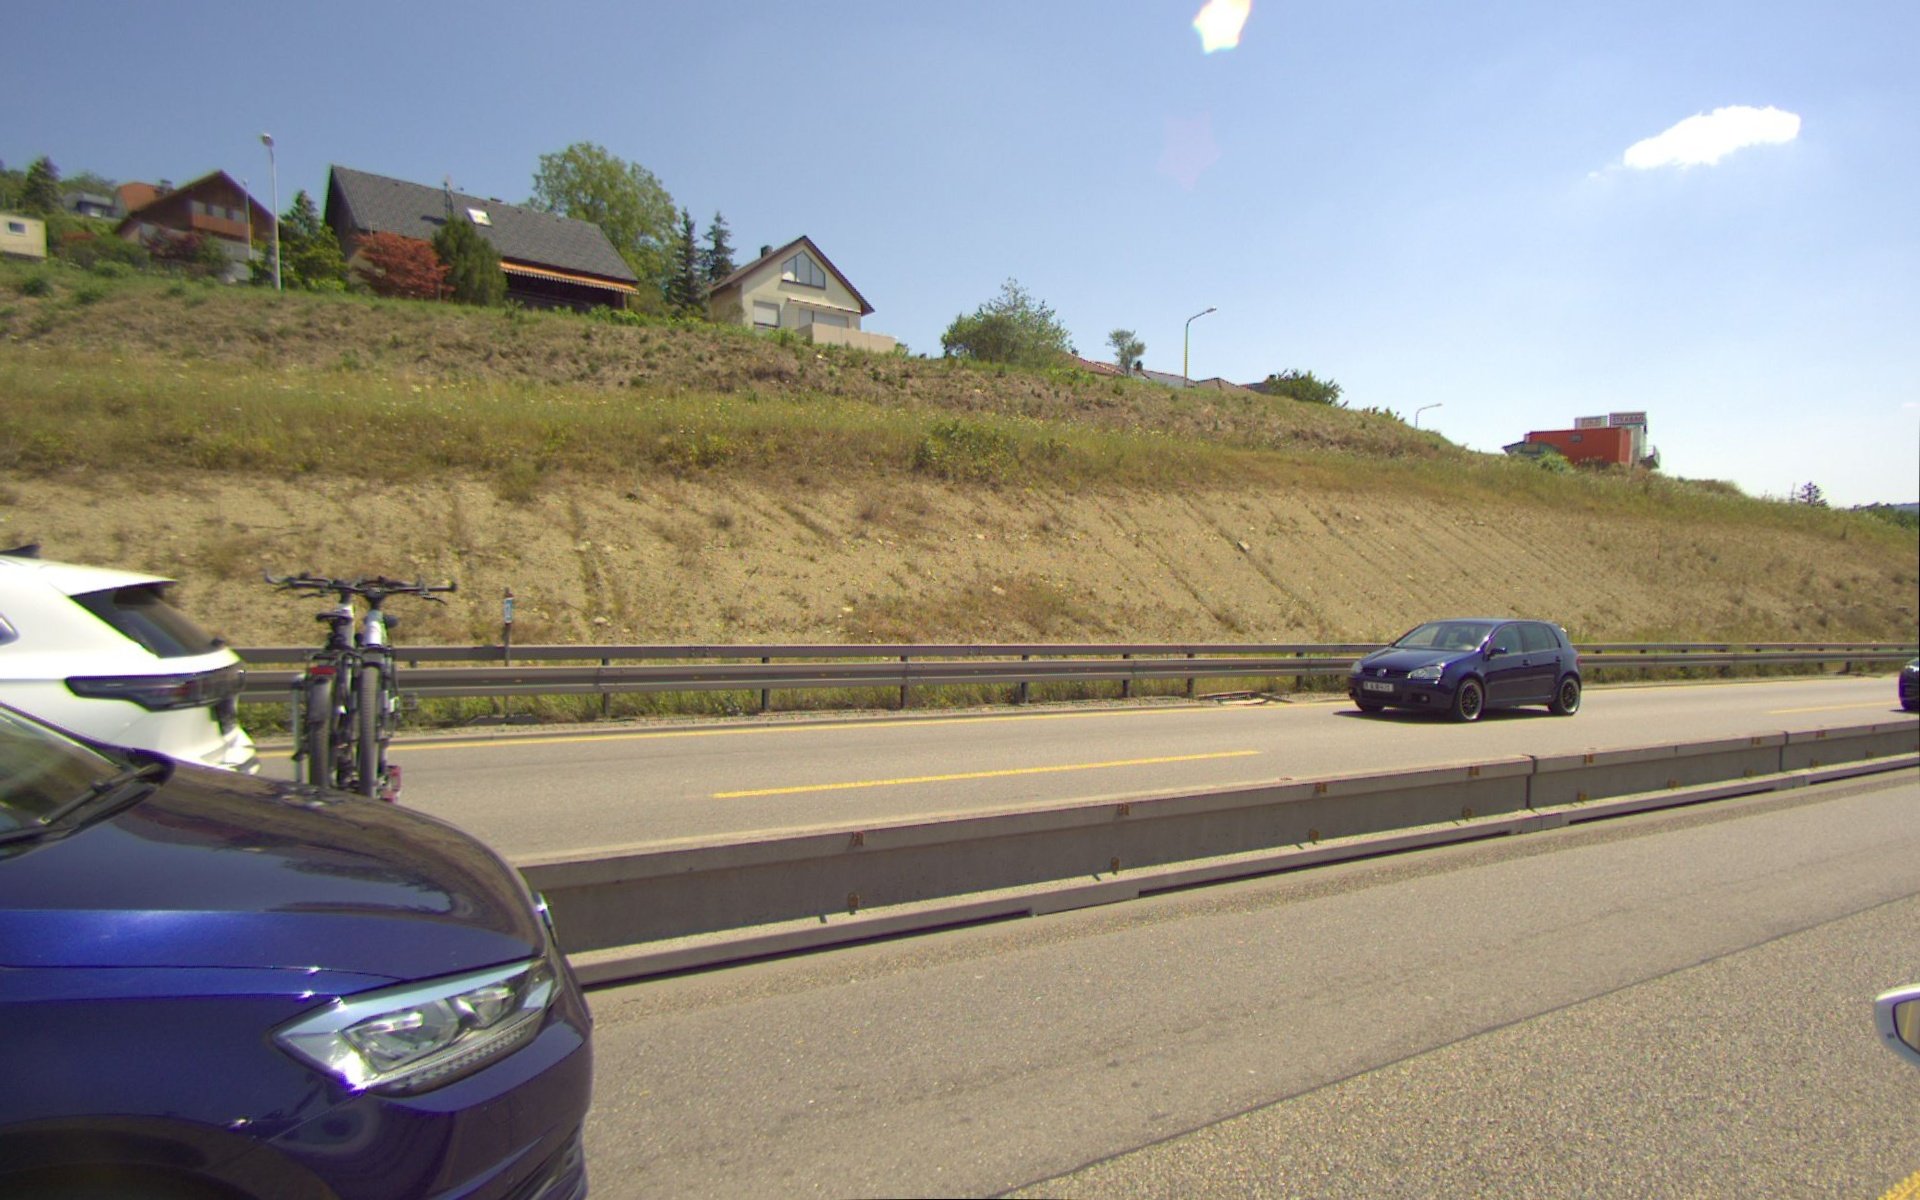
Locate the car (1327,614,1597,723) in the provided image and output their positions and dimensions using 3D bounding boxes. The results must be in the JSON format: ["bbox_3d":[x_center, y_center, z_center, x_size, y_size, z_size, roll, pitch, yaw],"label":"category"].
[{"bbox_3d":[7.717,0.972,15.346,4.193,1.437,1.702,1,0,-31],"label":"car"}]

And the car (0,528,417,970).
[{"bbox_3d":[-5.185,0.549,3.943,5.309,1.676,1.830,1,-1,-31],"label":"car"}]

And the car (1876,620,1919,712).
[{"bbox_3d":[18.437,1.166,17.730,5.031,1.519,1.945,1,0,-31],"label":"car"}]

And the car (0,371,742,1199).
[{"bbox_3d":[-2.799,0.568,1.364,4.597,1.741,1.767,0,1,-30],"label":"car"}]
